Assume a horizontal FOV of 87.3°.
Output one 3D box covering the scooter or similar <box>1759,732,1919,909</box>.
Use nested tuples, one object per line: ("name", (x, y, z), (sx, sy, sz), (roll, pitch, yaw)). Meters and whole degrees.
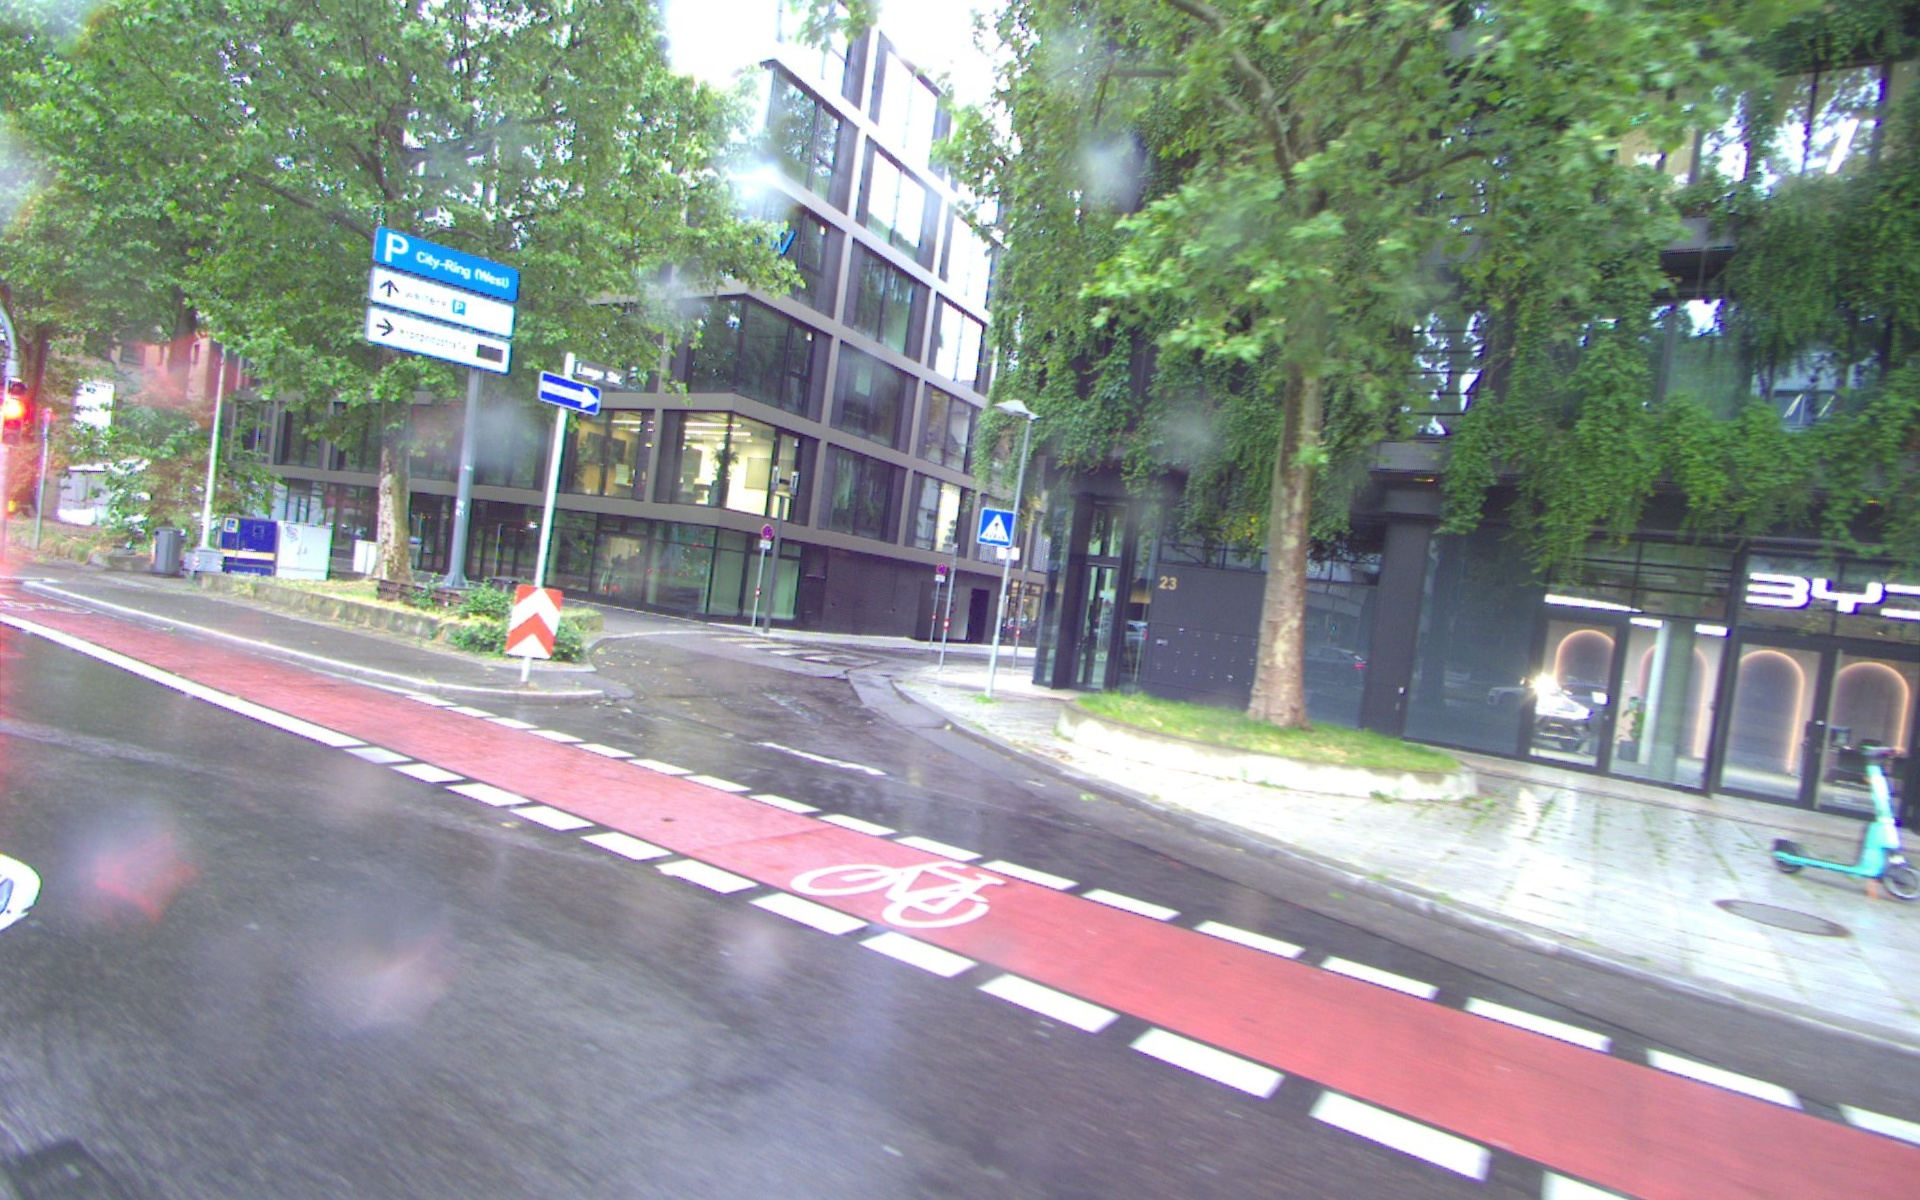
("scooter or similar", (7.592, 1.839, 8.560), (0.376, 1.243, 1.074), (7, 0, -21))
